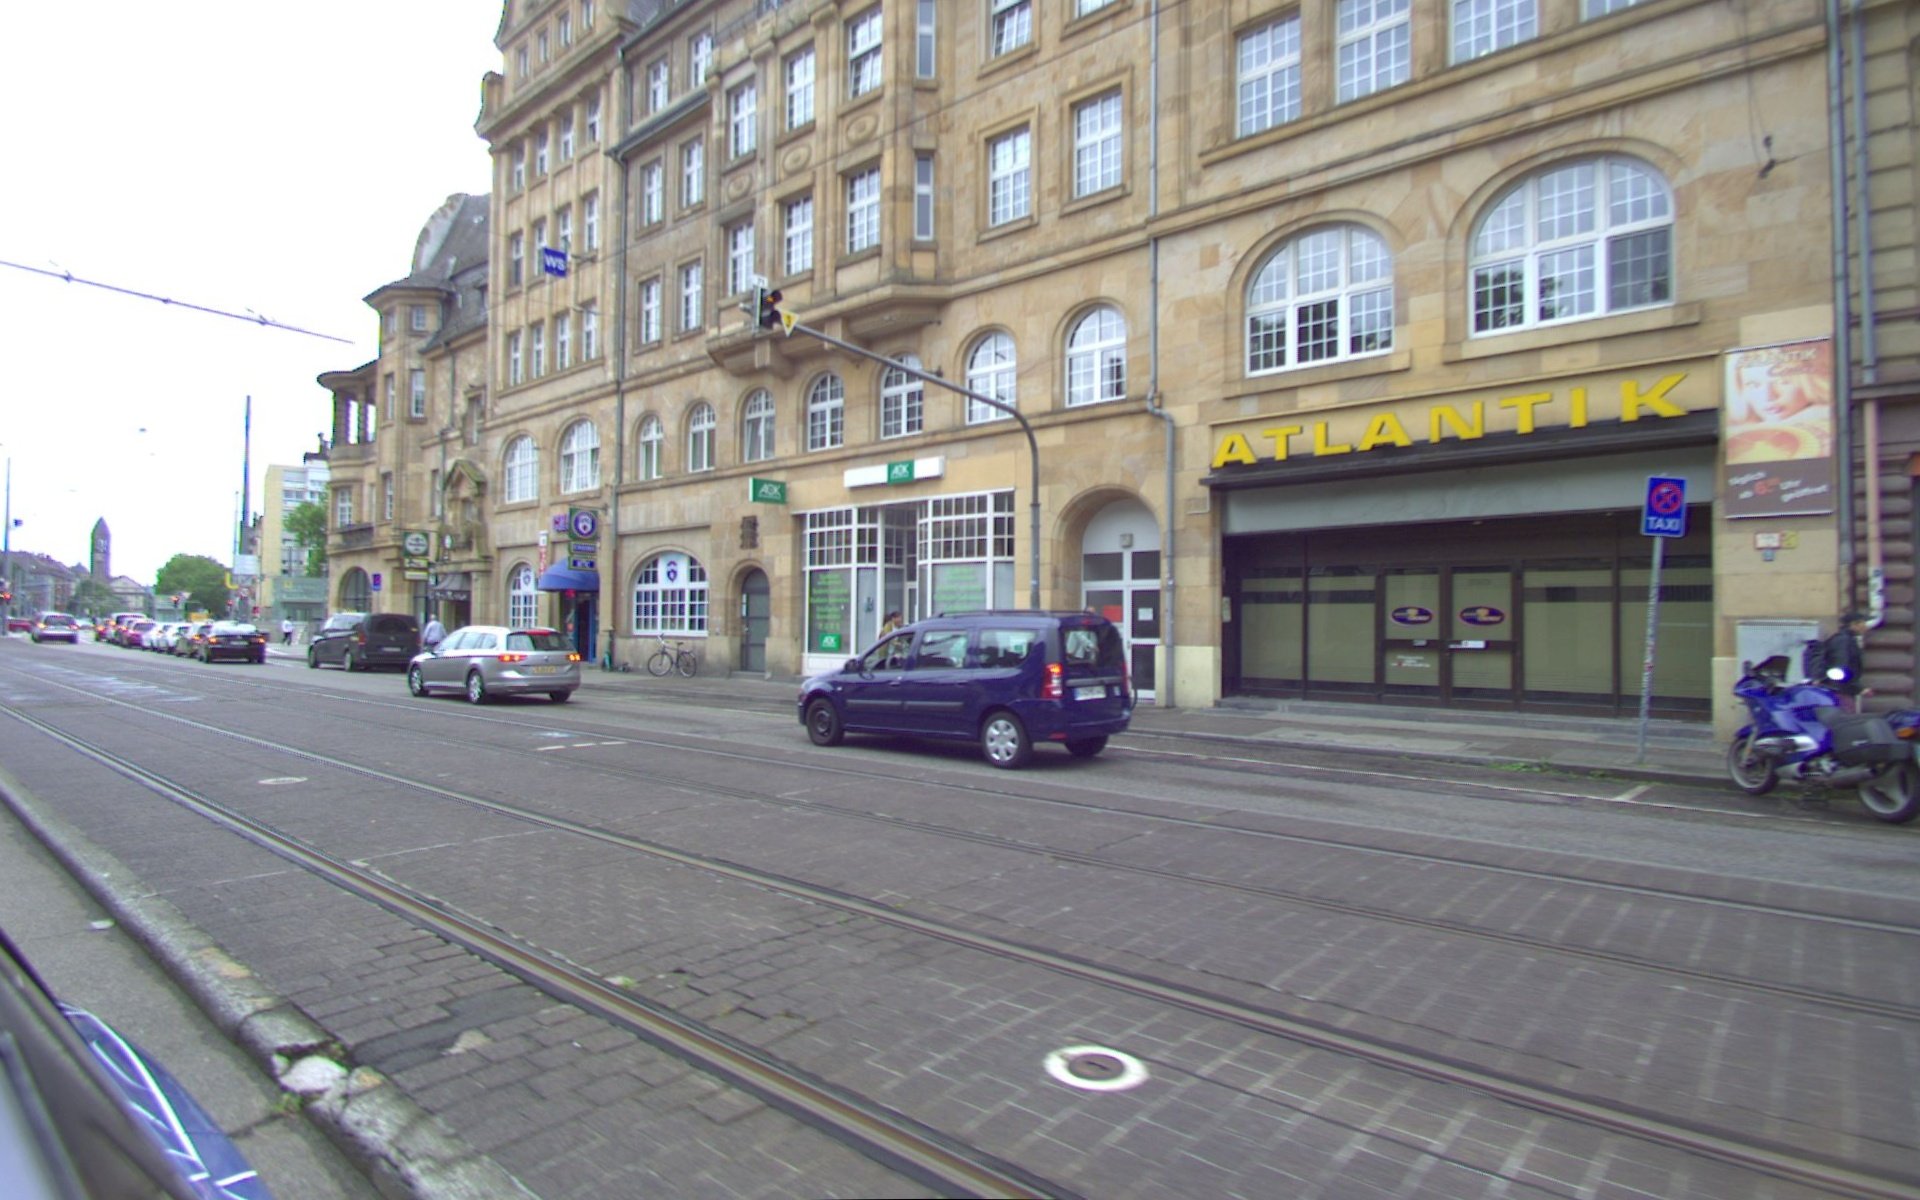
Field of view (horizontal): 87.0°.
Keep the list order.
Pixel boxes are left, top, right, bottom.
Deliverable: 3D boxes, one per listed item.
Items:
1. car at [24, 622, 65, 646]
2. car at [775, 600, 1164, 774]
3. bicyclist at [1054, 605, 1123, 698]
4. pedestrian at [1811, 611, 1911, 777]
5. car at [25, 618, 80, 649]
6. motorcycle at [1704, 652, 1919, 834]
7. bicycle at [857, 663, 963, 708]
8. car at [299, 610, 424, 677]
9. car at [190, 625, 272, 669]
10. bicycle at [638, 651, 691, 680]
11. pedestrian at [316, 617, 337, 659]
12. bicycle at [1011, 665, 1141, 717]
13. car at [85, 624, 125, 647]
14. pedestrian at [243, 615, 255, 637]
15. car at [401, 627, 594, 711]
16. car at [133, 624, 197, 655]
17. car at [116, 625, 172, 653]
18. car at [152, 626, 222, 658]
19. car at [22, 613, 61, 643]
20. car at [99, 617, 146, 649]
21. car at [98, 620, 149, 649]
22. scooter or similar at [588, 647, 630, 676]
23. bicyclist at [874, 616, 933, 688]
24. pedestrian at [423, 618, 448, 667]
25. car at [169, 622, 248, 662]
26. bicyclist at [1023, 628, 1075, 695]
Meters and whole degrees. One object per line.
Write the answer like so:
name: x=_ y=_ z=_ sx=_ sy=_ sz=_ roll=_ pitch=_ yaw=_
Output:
car: x=-57.623 y=2.127 z=63.688 sx=1.669 sy=1.453 sz=4.002 roll=2 pitch=-3 yaw=-45
car: x=-0.049 y=0.900 z=11.999 sx=4.612 sy=1.684 sz=1.740 roll=-1 pitch=-2 yaw=42
bicyclist: x=2.134 y=0.841 z=16.800 sx=0.971 sy=1.499 sz=0.604 roll=-1 pitch=-2 yaw=41
pedestrian: x=9.119 y=0.924 z=10.265 sx=0.718 sy=1.610 sz=0.562 roll=-1 pitch=-3 yaw=41
car: x=-53.230 y=1.964 z=59.333 sx=4.908 sy=1.719 sz=1.843 roll=-1 pitch=-4 yaw=43
motorcycle: x=7.650 y=1.135 z=8.722 sx=0.872 sy=1.312 sz=2.340 roll=0 pitch=-2 yaw=5
bicycle: x=-0.976 y=1.596 z=19.168 sx=2.250 sy=0.751 sz=0.575 roll=-1 pitch=-2 yaw=42
car: x=-19.510 y=1.414 z=32.908 sx=5.094 sy=1.992 sz=1.879 roll=-1 pitch=-5 yaw=41
car: x=-26.482 y=1.688 z=36.690 sx=1.805 sy=1.444 sz=4.672 roll=5 pitch=-5 yaw=-42
bicycle: x=-8.100 y=1.784 z=27.698 sx=1.705 sy=0.751 sz=0.575 roll=-1 pitch=-2 yaw=42
pedestrian: x=-26.623 y=1.575 z=42.509 sx=0.764 sy=1.741 sz=0.490 roll=-1 pitch=-2 yaw=38
bicycle: x=1.909 y=1.504 z=16.987 sx=2.249 sy=0.751 sz=0.575 roll=-1 pitch=-2 yaw=42
car: x=-56.329 y=2.301 z=66.669 sx=1.669 sy=1.453 sz=4.002 roll=2 pitch=-3 yaw=-45
pedestrian: x=-57.913 y=2.115 z=82.452 sx=0.592 sy=1.741 sz=0.915 roll=1 pitch=-2 yaw=-23
car: x=-9.213 y=1.281 z=19.979 sx=4.612 sy=1.460 sz=1.740 roll=-1 pitch=-2 yaw=42
car: x=-39.281 y=1.948 z=49.950 sx=4.361 sy=1.390 sz=1.728 roll=-1 pitch=-5 yaw=43
car: x=-43.320 y=2.063 z=53.677 sx=3.897 sy=1.410 sz=1.842 roll=-1 pitch=-5 yaw=45
car: x=-35.209 y=1.891 z=46.058 sx=4.259 sy=1.390 sz=1.904 roll=-1 pitch=-3 yaw=44
car: x=-61.605 y=1.868 z=67.853 sx=1.669 sy=1.915 sz=4.389 roll=2 pitch=-3 yaw=-45
car: x=-51.649 y=2.016 z=62.369 sx=1.841 sy=1.931 sz=5.105 roll=2 pitch=-3 yaw=-44
car: x=-47.528 y=1.947 z=57.468 sx=1.841 sy=1.546 sz=4.305 roll=5 pitch=-4 yaw=-44
scooter or similar: x=-10.201 y=1.779 z=29.419 sx=1.345 sy=0.809 sz=0.575 roll=-1 pitch=-2 yaw=41
bicyclist: x=-1.080 y=0.976 z=19.259 sx=0.971 sy=1.334 sz=0.604 roll=-1 pitch=-2 yaw=41
pedestrian: x=-18.624 y=1.509 z=35.917 sx=0.523 sy=1.741 sz=0.592 roll=-1 pitch=-2 yaw=38
car: x=-30.810 y=1.715 z=41.441 sx=4.430 sy=1.522 sz=1.877 roll=-2 pitch=-4 yaw=45
bicyclist: x=1.520 y=1.038 z=17.344 sx=0.659 sy=1.126 sz=0.604 roll=-1 pitch=-2 yaw=41
